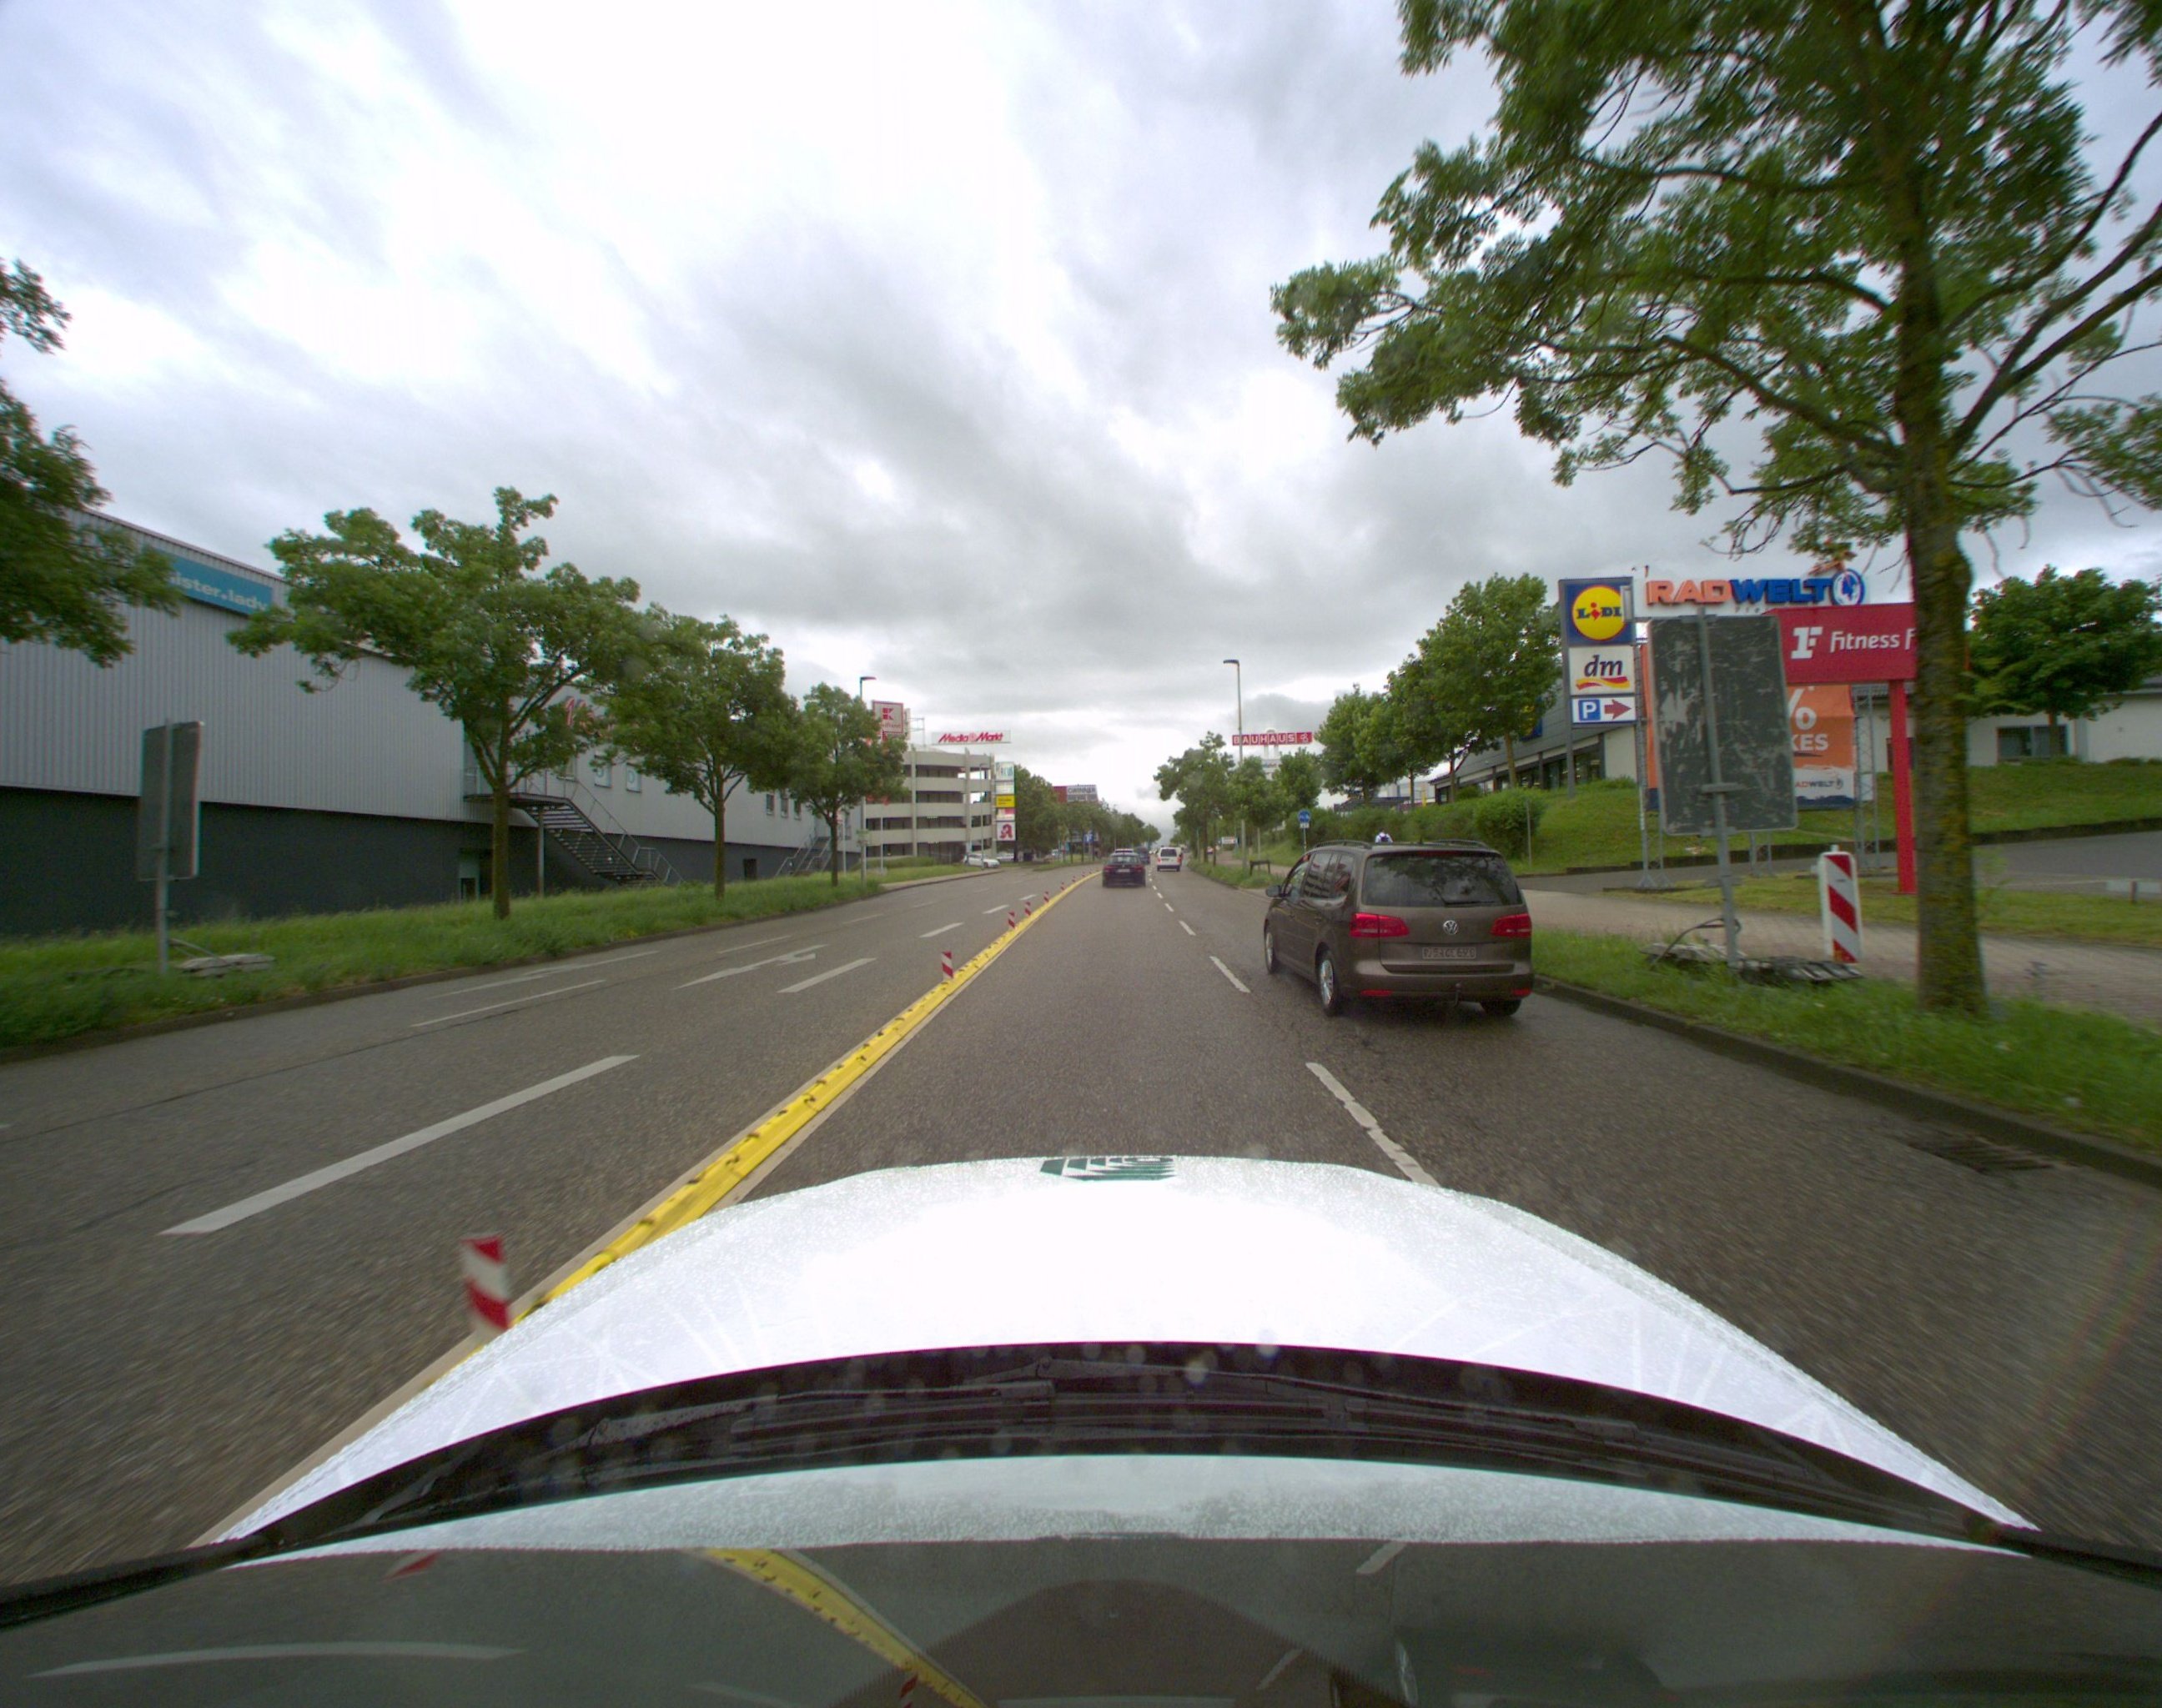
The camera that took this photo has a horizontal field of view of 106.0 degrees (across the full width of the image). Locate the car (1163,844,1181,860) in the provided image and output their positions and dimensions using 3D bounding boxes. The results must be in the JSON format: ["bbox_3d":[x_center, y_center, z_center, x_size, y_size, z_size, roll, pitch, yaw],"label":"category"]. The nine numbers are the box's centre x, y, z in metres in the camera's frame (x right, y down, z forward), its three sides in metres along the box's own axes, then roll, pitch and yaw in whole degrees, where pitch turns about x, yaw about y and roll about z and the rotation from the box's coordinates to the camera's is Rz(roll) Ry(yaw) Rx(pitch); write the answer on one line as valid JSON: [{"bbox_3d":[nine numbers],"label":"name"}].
[{"bbox_3d":[9.092,-0.179,81.429,1.785,1.510,4.006,0,0,6],"label":"car"}]

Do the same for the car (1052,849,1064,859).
[{"bbox_3d":[-4.597,0.028,163.140,2.030,1.762,4.953,0,2,5],"label":"car"}]

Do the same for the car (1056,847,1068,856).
[{"bbox_3d":[-4.357,-0.554,184.080,2.127,1.773,4.616,0,2,5],"label":"car"}]

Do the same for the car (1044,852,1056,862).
[{"bbox_3d":[-5.648,0.520,148.728,1.925,1.608,4.715,0,2,3],"label":"car"}]

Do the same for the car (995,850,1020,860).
[{"bbox_3d":[-13.883,0.209,154.243,4.585,1.745,1.967,0,1,-1],"label":"car"}]

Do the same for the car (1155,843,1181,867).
[{"bbox_3d":[6.631,0.039,62.362,1.819,1.759,4.003,0,1,3],"label":"car"}]

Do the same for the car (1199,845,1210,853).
[{"bbox_3d":[24.629,-1.054,162.158,1.786,1.510,4.004,0,0,4],"label":"car"}]

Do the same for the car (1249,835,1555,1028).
[{"bbox_3d":[3.077,0.615,8.810,1.680,1.581,4.218,0,0,0],"label":"car"}]

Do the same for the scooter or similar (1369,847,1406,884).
[{"bbox_3d":[11.073,0.419,29.470,0.693,1.263,1.399,-4,-1,-3],"label":"scooter or similar"}]

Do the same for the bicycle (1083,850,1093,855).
[{"bbox_3d":[1.497,-0.307,181.237,2.063,0.935,1.097,3,0,11],"label":"bicycle"}]

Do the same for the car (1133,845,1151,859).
[{"bbox_3d":[6.629,-0.208,88.250,1.786,1.510,4.005,0,0,5],"label":"car"}]

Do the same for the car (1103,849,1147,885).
[{"bbox_3d":[1.932,0.520,35.759,1.819,1.468,4.004,1,0,3],"label":"car"}]

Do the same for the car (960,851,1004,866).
[{"bbox_3d":[-10.895,0.455,89.340,4.370,1.408,1.917,2,3,24],"label":"car"}]

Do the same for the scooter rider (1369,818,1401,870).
[{"bbox_3d":[11.020,-0.349,29.577,0.693,1.820,0.857,-3,-1,-3],"label":"scooter rider"}]
